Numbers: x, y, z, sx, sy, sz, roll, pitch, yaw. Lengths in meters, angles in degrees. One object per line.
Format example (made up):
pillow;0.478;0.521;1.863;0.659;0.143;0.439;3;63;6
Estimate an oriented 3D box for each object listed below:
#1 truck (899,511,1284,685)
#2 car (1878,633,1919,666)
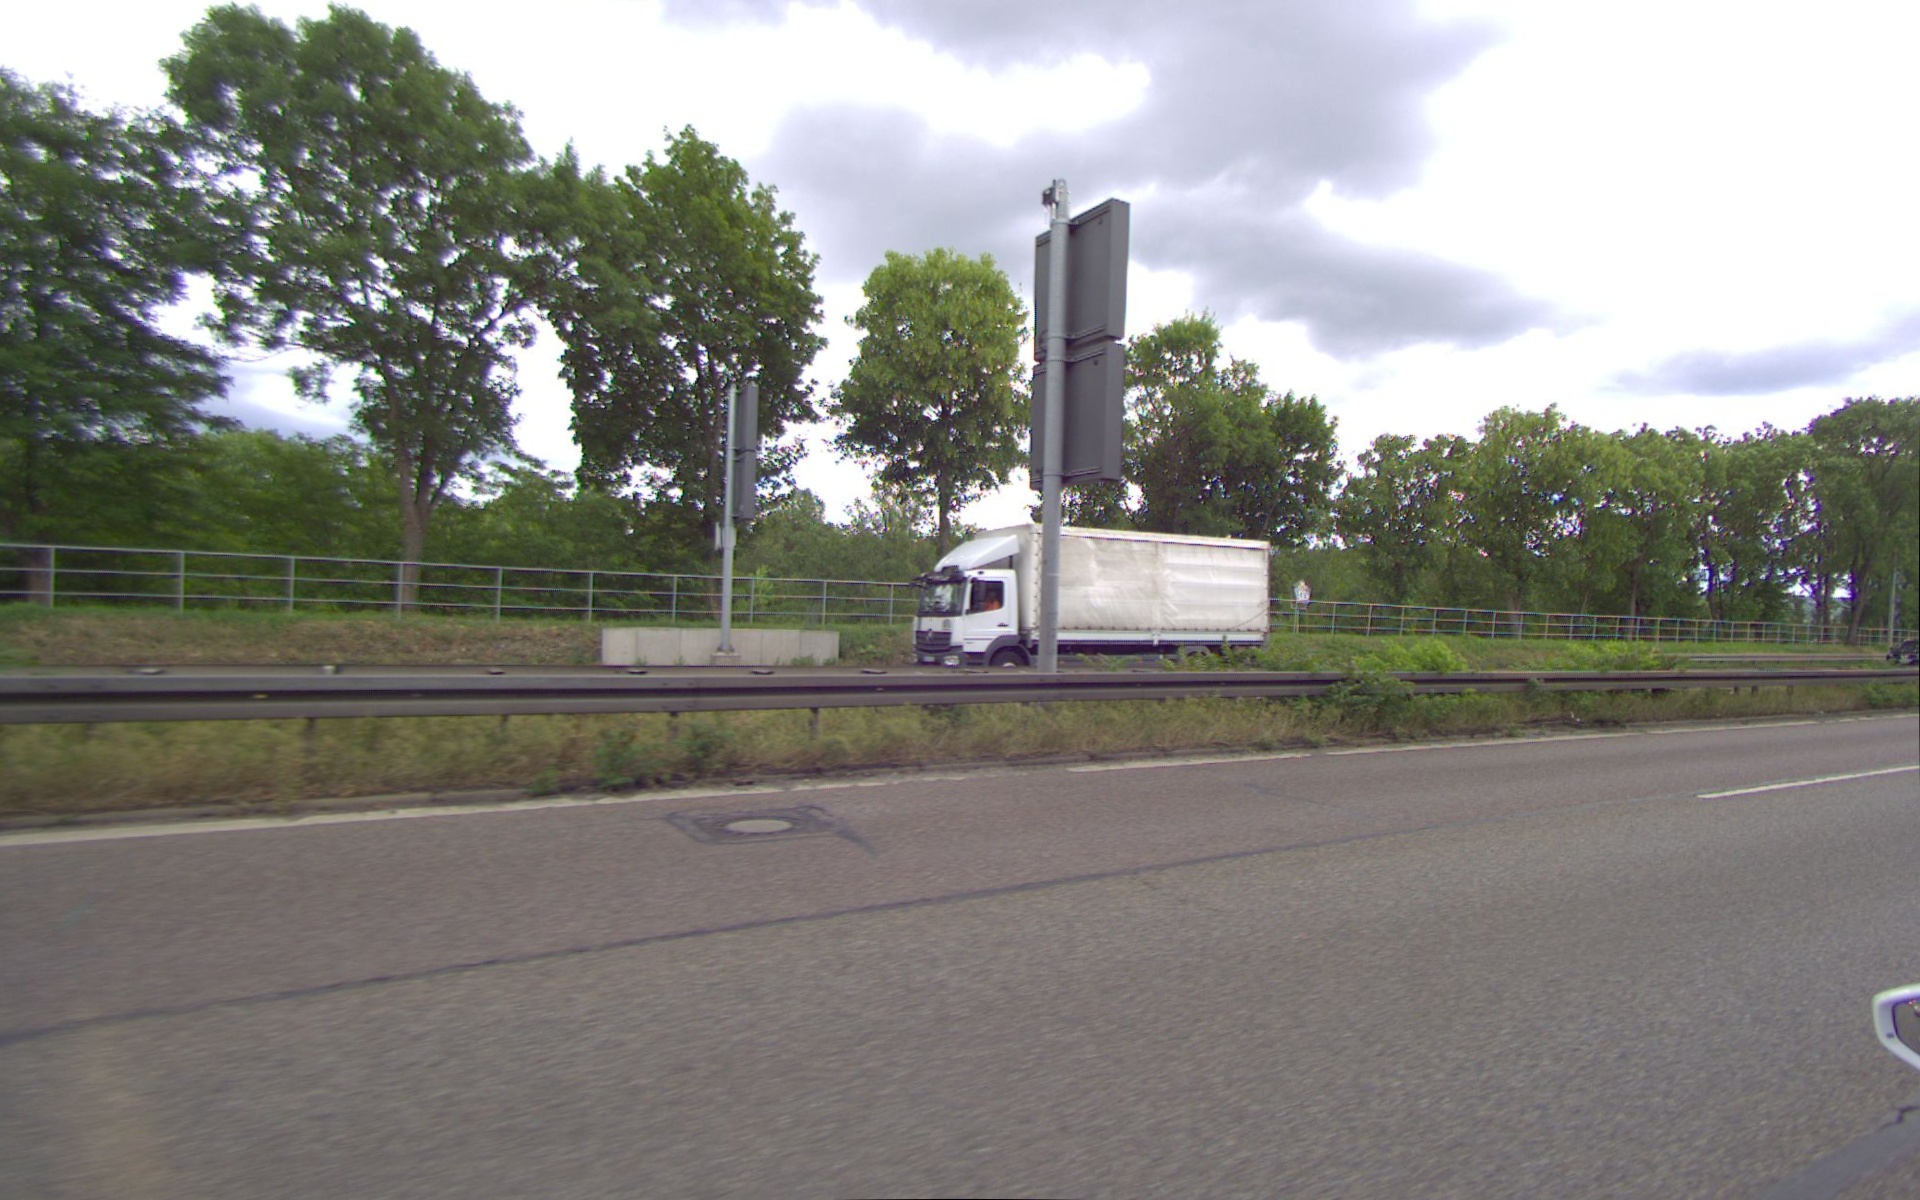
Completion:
truck;3.418;0.101;24.544;9.472;3.626;2.876;2;-1;-30
car;49.198;2.548;51.723;3.995;1.626;1.718;1;-2;-31
